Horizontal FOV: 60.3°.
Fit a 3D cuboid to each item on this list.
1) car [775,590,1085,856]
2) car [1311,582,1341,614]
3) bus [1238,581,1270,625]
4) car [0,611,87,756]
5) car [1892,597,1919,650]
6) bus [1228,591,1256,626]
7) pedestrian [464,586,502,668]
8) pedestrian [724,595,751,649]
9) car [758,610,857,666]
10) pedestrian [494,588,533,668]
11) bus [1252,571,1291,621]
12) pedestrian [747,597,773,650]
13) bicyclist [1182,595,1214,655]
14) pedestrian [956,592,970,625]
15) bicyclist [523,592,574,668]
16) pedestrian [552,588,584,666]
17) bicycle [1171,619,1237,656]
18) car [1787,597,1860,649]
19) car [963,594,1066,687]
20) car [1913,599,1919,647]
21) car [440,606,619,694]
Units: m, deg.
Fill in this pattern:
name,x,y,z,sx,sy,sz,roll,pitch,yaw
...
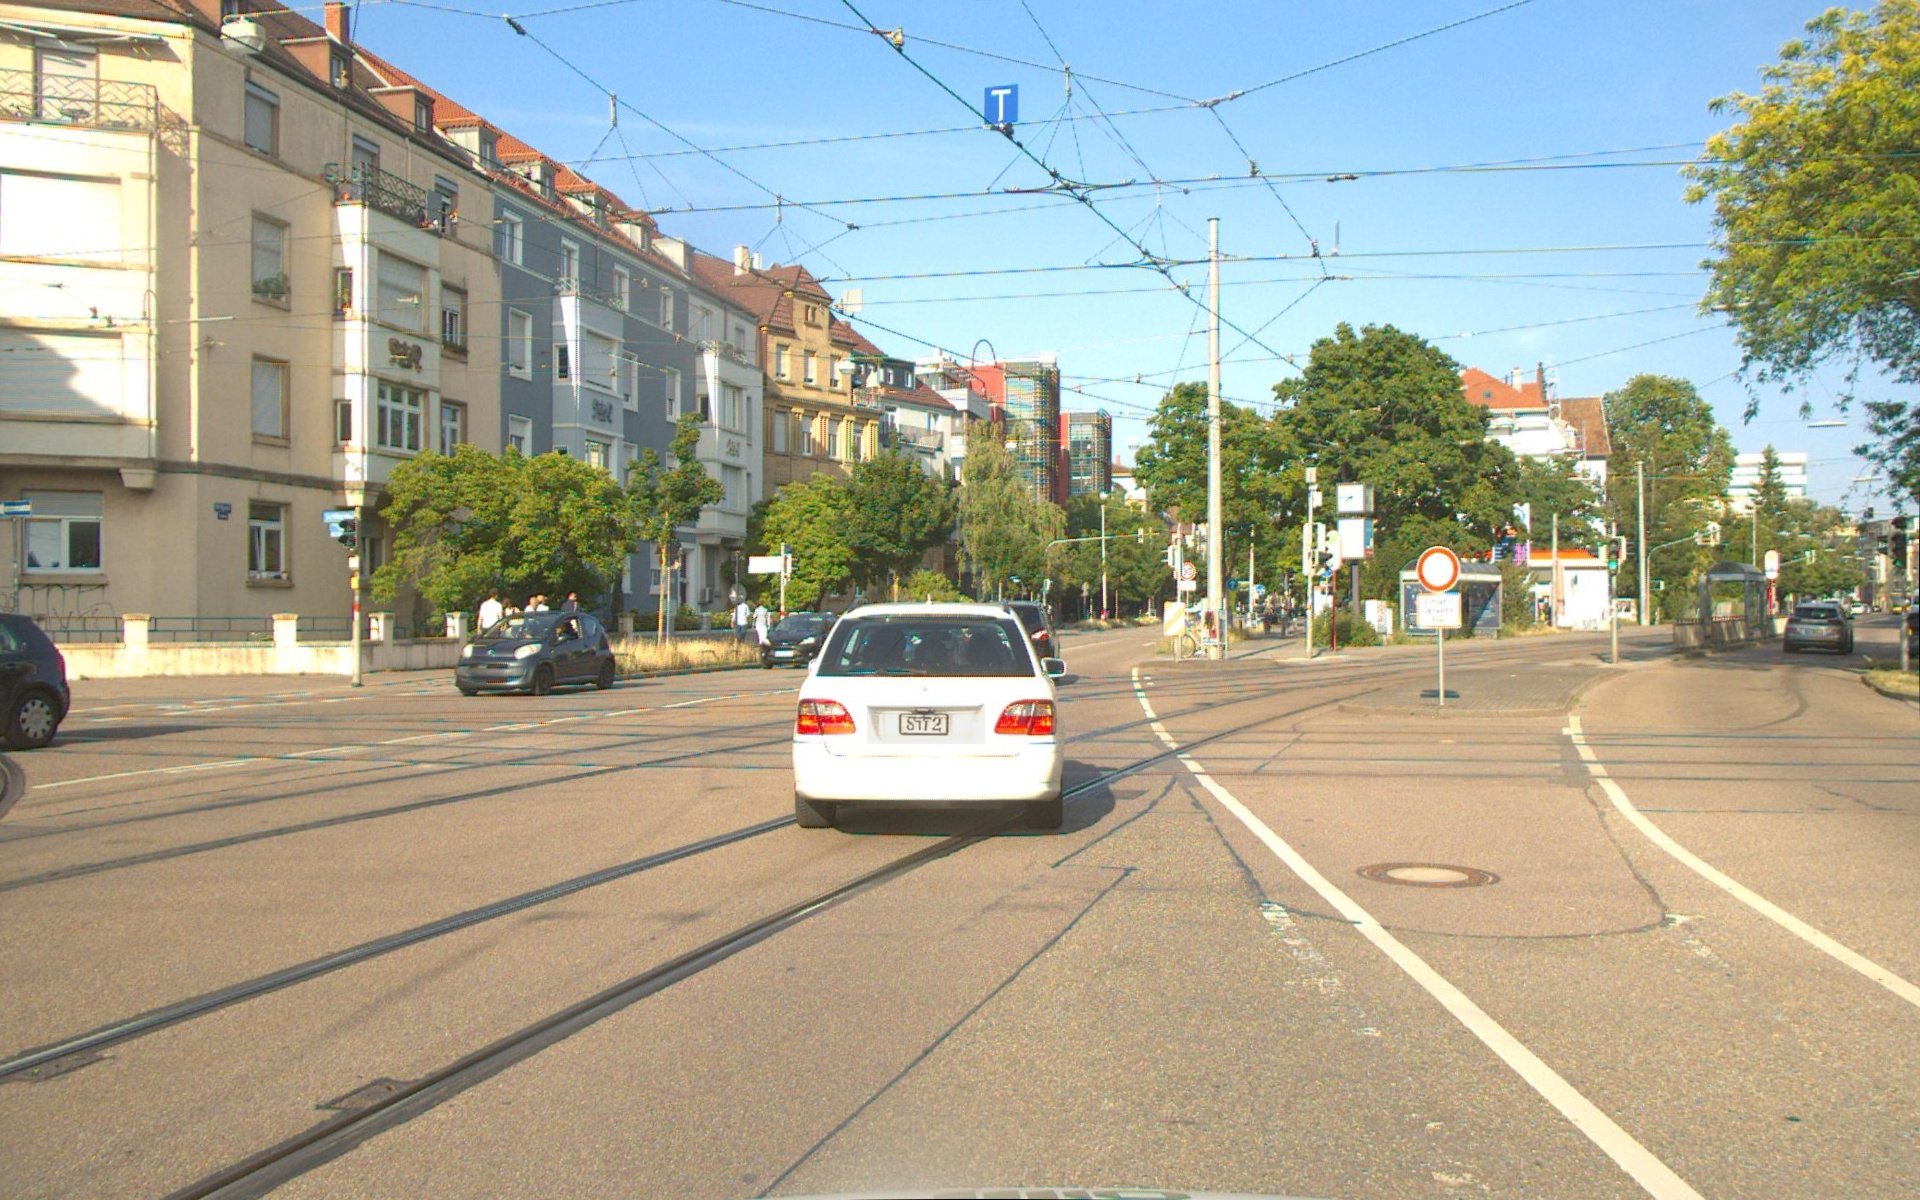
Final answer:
name,x,y,z,sx,sy,sz,roll,pitch,yaw
car,-0.149,0.734,11.709,1.797,1.527,3.815,2,0,1
car,21.965,-0.107,99.195,1.708,1.906,4.003,0,0,14
bus,18.290,0.212,103.032,1.759,2.600,4.003,2,-1,9
car,-10.864,0.855,16.210,1.730,1.458,4.002,0,0,19
car,29.324,0.672,49.692,1.823,1.542,3.984,-2,-1,36
bus,20.151,0.643,118.472,1.759,2.374,4.003,2,-1,8
pedestrian,-11.241,0.634,39.001,0.644,1.914,0.627,0,0,11
pedestrian,-7.477,0.736,55.638,0.624,1.781,0.912,0,0,10
car,-4.058,1.008,44.649,1.652,1.445,4.003,0,-1,10
pedestrian,-10.563,0.654,39.152,0.660,1.880,0.650,0,0,14
bus,16.496,-0.183,87.581,1.759,2.455,4.003,2,-1,8
pedestrian,-6.691,0.784,55.444,0.624,1.781,0.912,0,0,10
bicyclist,6.969,0.734,48.495,0.880,1.728,0.733,-2,-1,7
pedestrian,0.161,0.457,89.555,0.624,1.781,0.608,0,0,10
bicyclist,-9.379,0.675,37.738,0.744,1.697,1.168,0,0,8
pedestrian,-9.702,0.661,40.945,0.572,1.914,0.627,0,0,12
bicycle,7.135,1.105,48.474,1.873,1.012,0.727,-2,-1,7
car,28.605,0.766,54.759,1.803,1.628,3.804,1,0,33
car,1.100,0.731,31.538,1.607,1.628,3.818,1,0,7
car,32.503,0.704,54.173,1.822,1.542,3.986,-2,-1,35
car,-7.562,0.840,29.388,1.599,1.458,3.631,0,0,12
